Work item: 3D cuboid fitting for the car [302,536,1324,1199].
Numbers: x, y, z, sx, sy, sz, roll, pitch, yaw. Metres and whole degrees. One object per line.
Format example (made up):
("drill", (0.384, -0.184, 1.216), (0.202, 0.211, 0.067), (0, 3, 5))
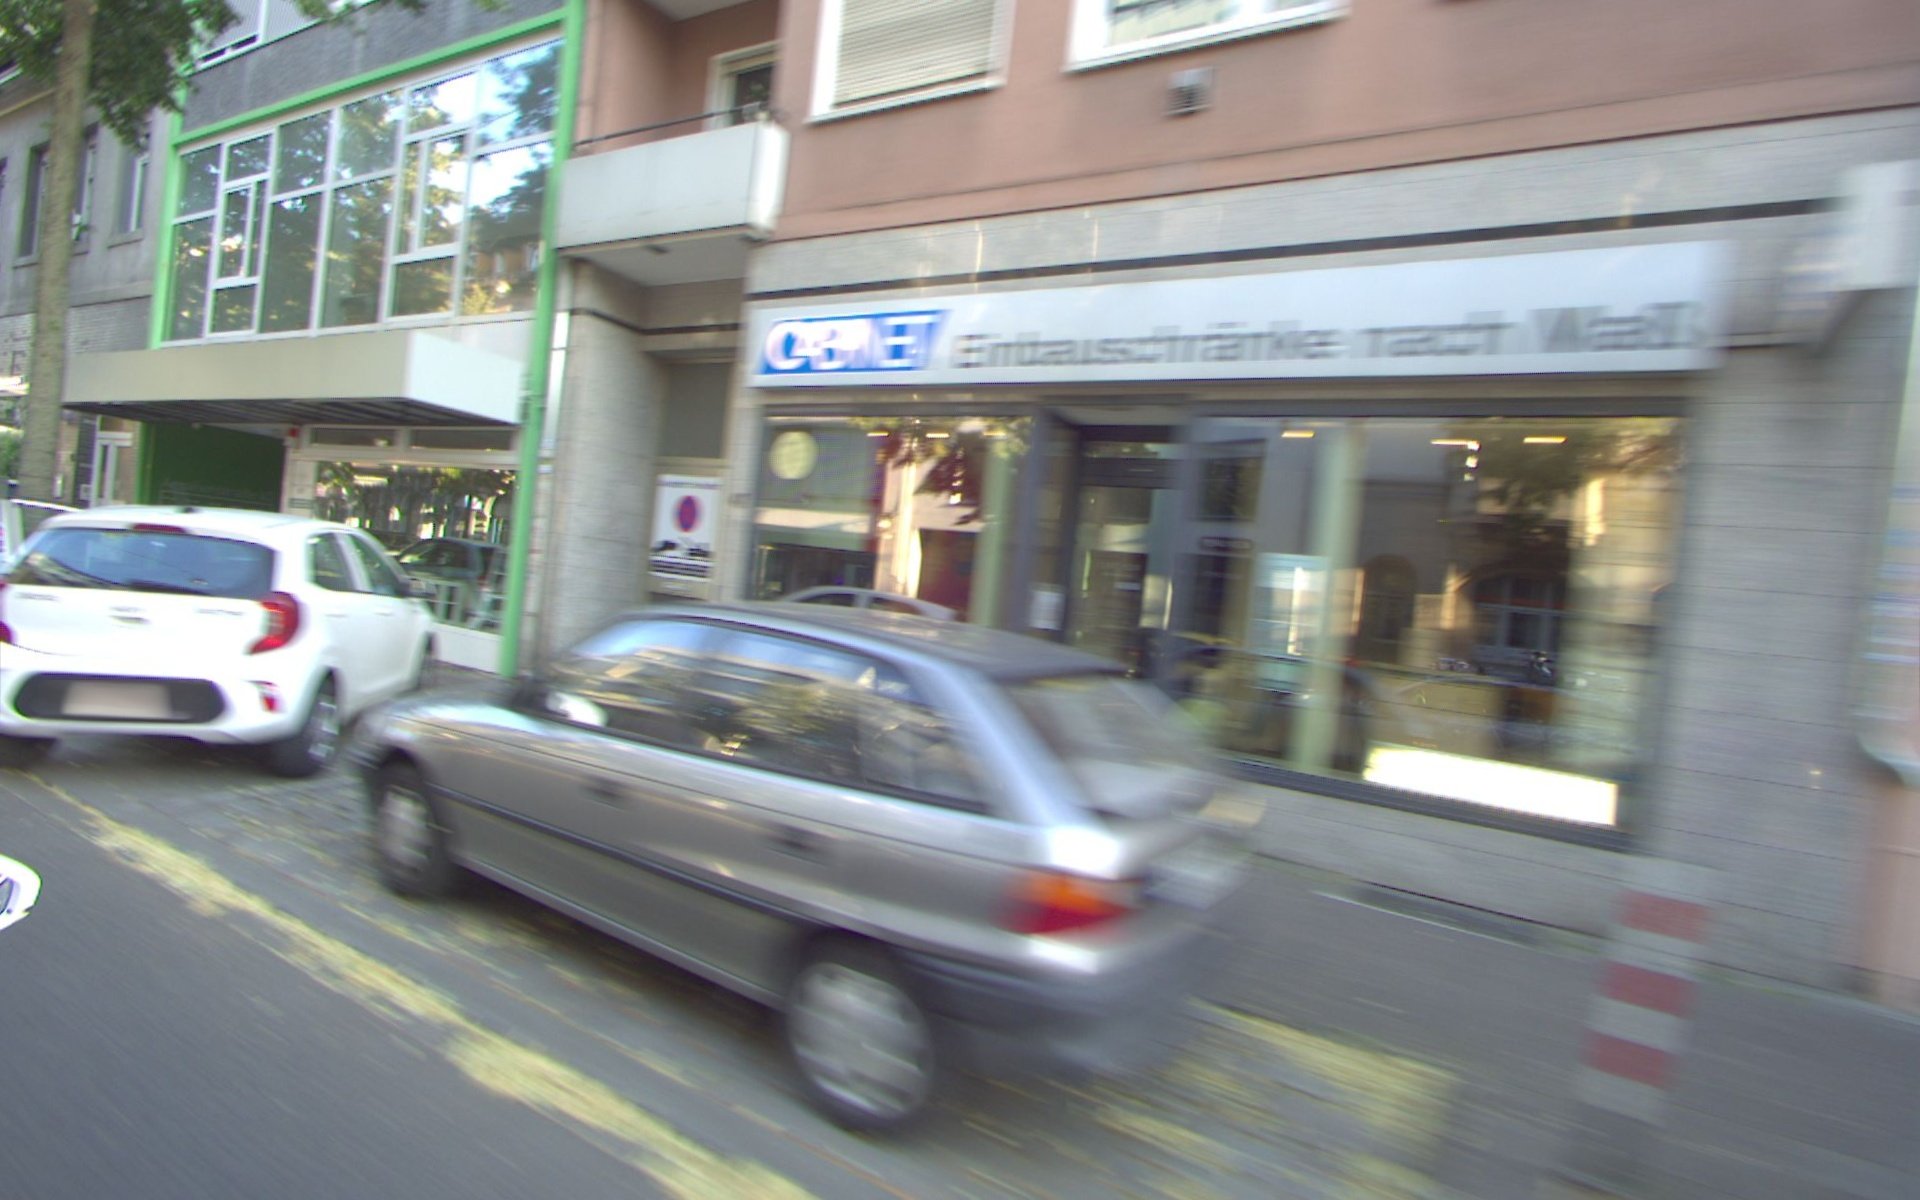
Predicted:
("car", (-0.814, 0.660, 4.165), (3.927, 1.494, 1.823), (7, 4, 34))

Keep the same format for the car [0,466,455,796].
("car", (-4.779, 0.071, 6.850), (1.639, 1.606, 3.608), (5, 3, -16))

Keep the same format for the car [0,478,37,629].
("car", (-11.729, -0.670, 10.851), (3.494, 1.563, 1.692), (7, 2, 32))
